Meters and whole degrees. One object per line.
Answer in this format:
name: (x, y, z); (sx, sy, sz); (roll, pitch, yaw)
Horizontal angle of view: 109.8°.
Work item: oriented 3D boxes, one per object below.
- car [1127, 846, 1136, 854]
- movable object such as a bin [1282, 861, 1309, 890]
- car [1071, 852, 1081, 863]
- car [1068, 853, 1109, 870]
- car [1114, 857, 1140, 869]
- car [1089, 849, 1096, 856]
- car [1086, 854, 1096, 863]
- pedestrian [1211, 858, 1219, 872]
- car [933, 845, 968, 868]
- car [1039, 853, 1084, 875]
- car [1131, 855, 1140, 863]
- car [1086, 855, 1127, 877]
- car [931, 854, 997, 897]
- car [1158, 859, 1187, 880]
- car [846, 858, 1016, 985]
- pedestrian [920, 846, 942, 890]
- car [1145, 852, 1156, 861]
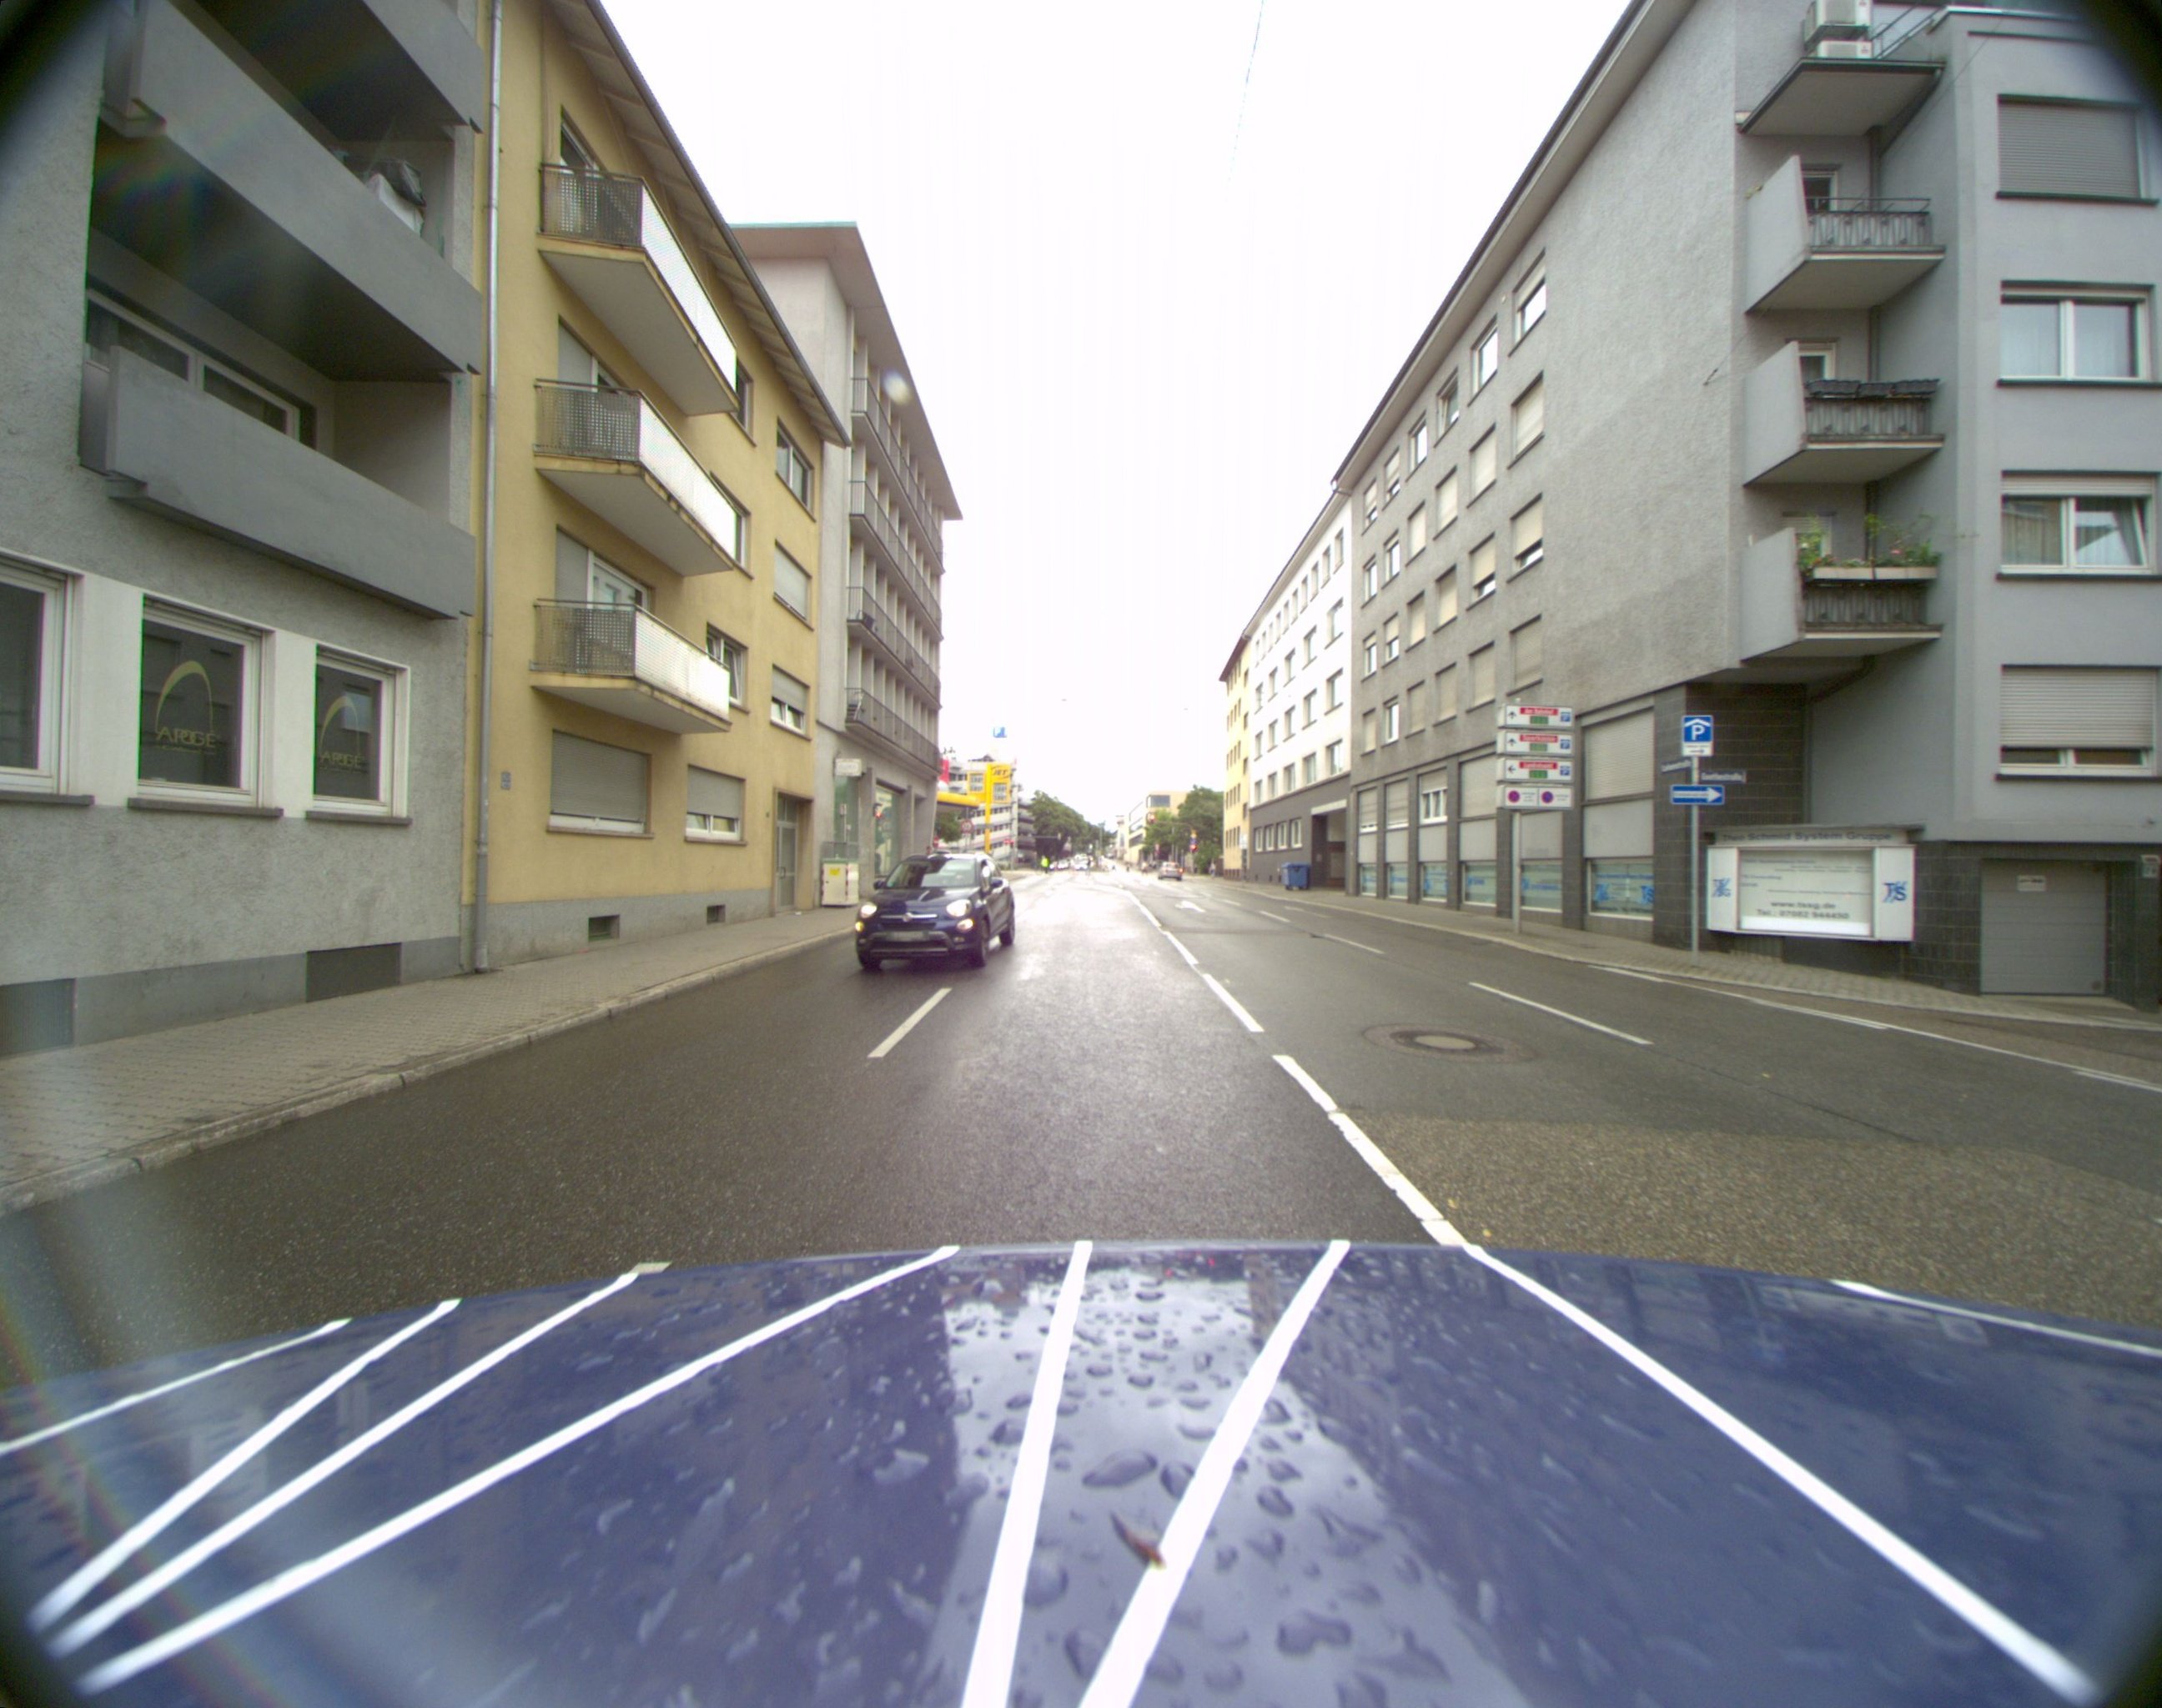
car: (12.873, -1.033, 192.831); (1.998, 1.683, 4.000); (-2, 1, 2)
movable object such as a bin: (10.390, 1.011, 36.785); (0.946, 1.325, 1.096); (-3, 1, 1)
car: (-0.972, 0.737, 155.662); (1.998, 2.002, 3.999); (-2, 1, 0)
car: (0.743, 0.726, 73.941); (3.996, 1.499, 1.738); (1, 1, 2)
car: (7.299, 1.358, 120.080); (3.995, 1.736, 2.000); (-2, 1, 5)
car: (3.209, -0.386, 217.519); (1.998, 2.002, 3.999); (-2, 1, 1)
car: (2.118, 0.837, 159.316); (1.998, 1.736, 3.999); (-2, 1, 1)
pedestrian: (11.222, 0.927, 63.731); (0.582, 1.143, 0.407); (3, 1, 11)
car: (-9.140, 0.207, 52.991); (1.773, 1.465, 3.994); (-2, 0, -18)
car: (-1.754, 0.878, 68.678); (3.930, 1.706, 1.902); (-3, 0, -3)
car: (12.731, 1.076, 176.994); (1.998, 1.683, 4.000); (-2, 1, 2)
car: (2.415, 1.124, 71.914); (3.794, 1.823, 1.692); (-3, 0, 2)
car: (-4.363, 0.763, 29.004); (1.803, 1.427, 4.166); (1, 0, 1)
car: (7.416, 1.253, 61.636); (1.883, 1.580, 4.373); (0, 0, 1)
car: (-2.112, 0.887, 11.830); (1.771, 1.571, 4.000); (-1, 0, 1)
pedestrian: (-6.063, 0.549, 30.808); (0.679, 1.745, 0.888); (1, 1, 2)
car: (15.467, 0.656, 169.992); (1.998, 1.863, 3.999); (-2, 1, 0)
